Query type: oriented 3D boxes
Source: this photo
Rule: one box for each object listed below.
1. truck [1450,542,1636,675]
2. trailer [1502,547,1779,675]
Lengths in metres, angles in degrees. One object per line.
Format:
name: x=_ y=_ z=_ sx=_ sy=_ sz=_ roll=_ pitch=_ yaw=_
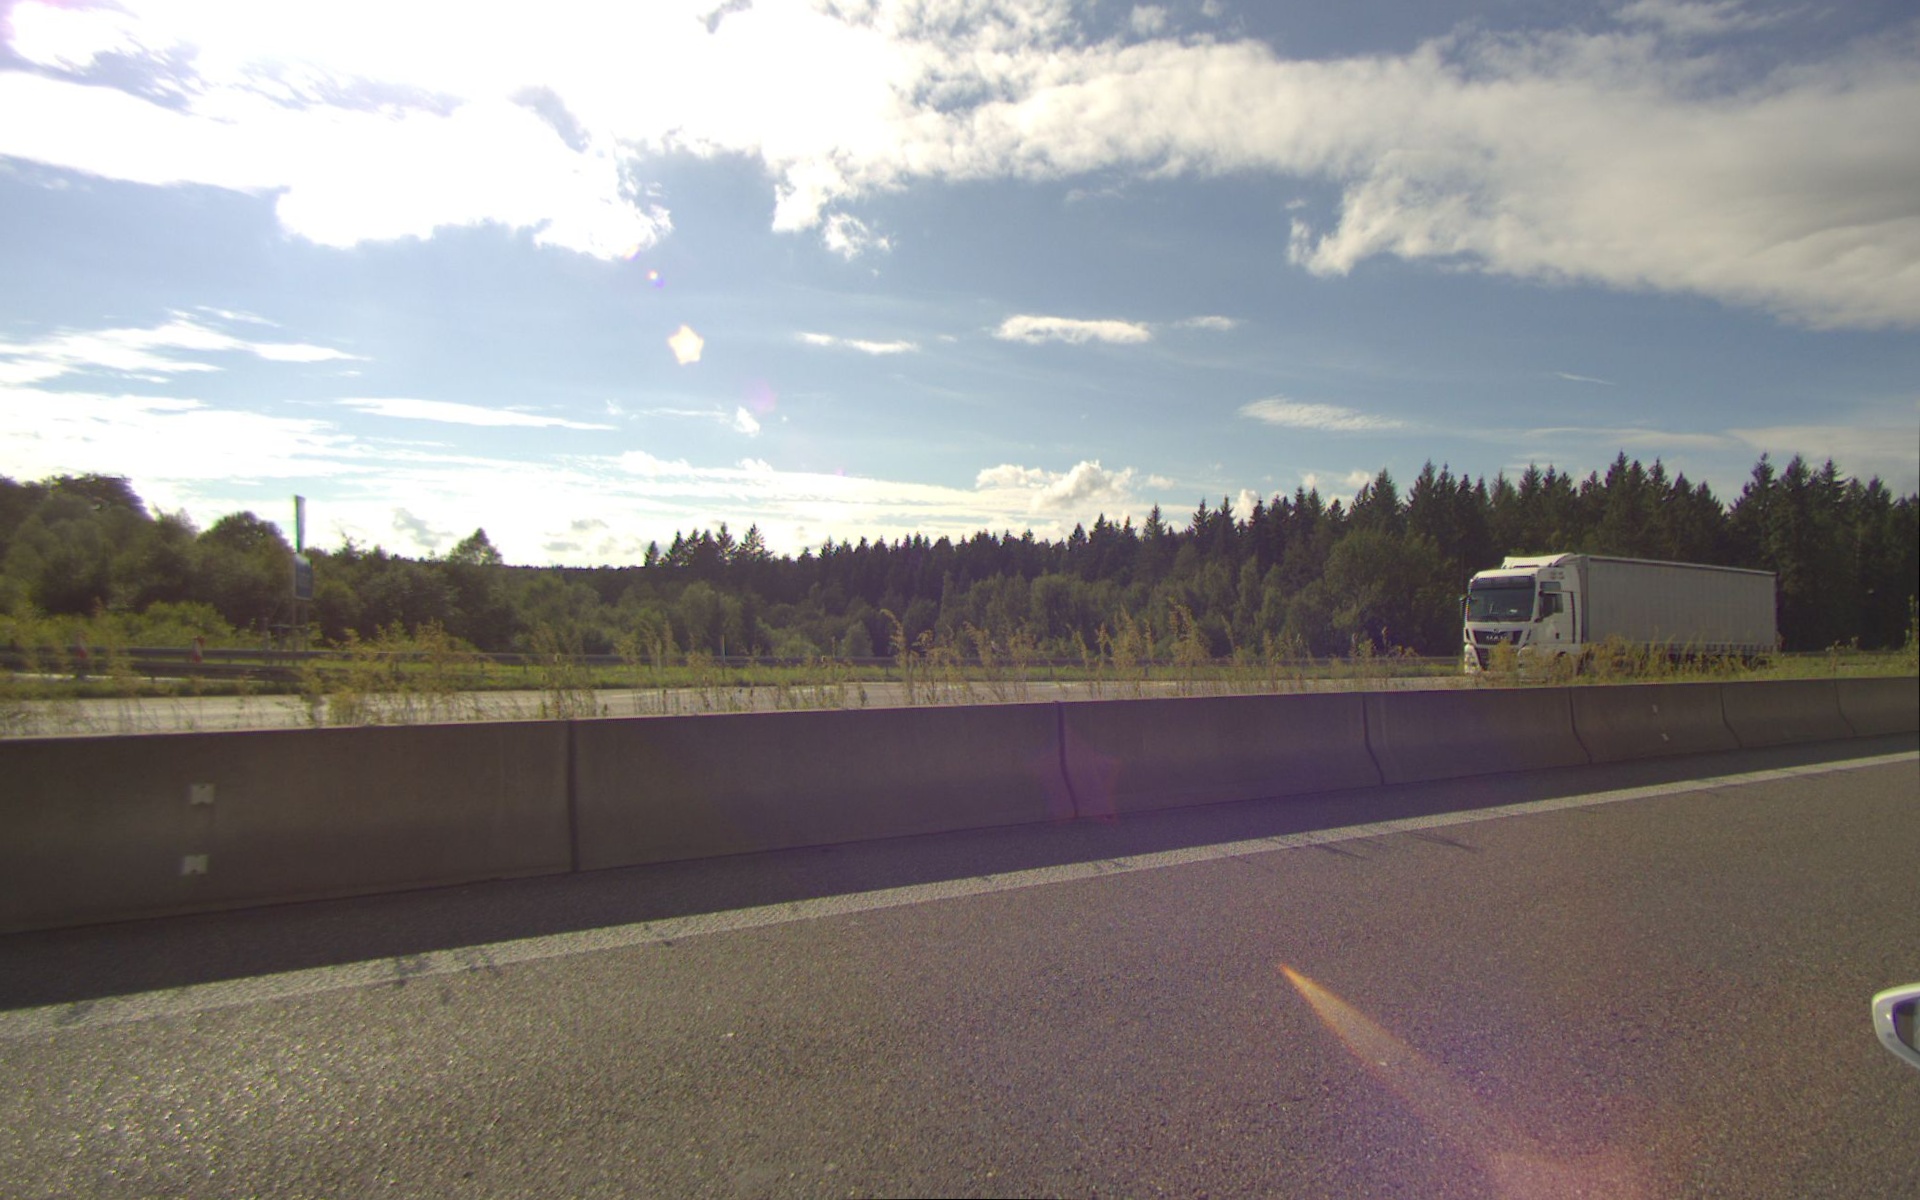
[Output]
truck: x=19.144 y=0.347 z=32.946 sx=5.764 sy=4.028 sz=2.806 roll=2 pitch=-1 yaw=-30
trailer: x=24.945 y=0.536 z=36.369 sx=13.391 sy=4.045 sz=2.819 roll=2 pitch=-1 yaw=-30
